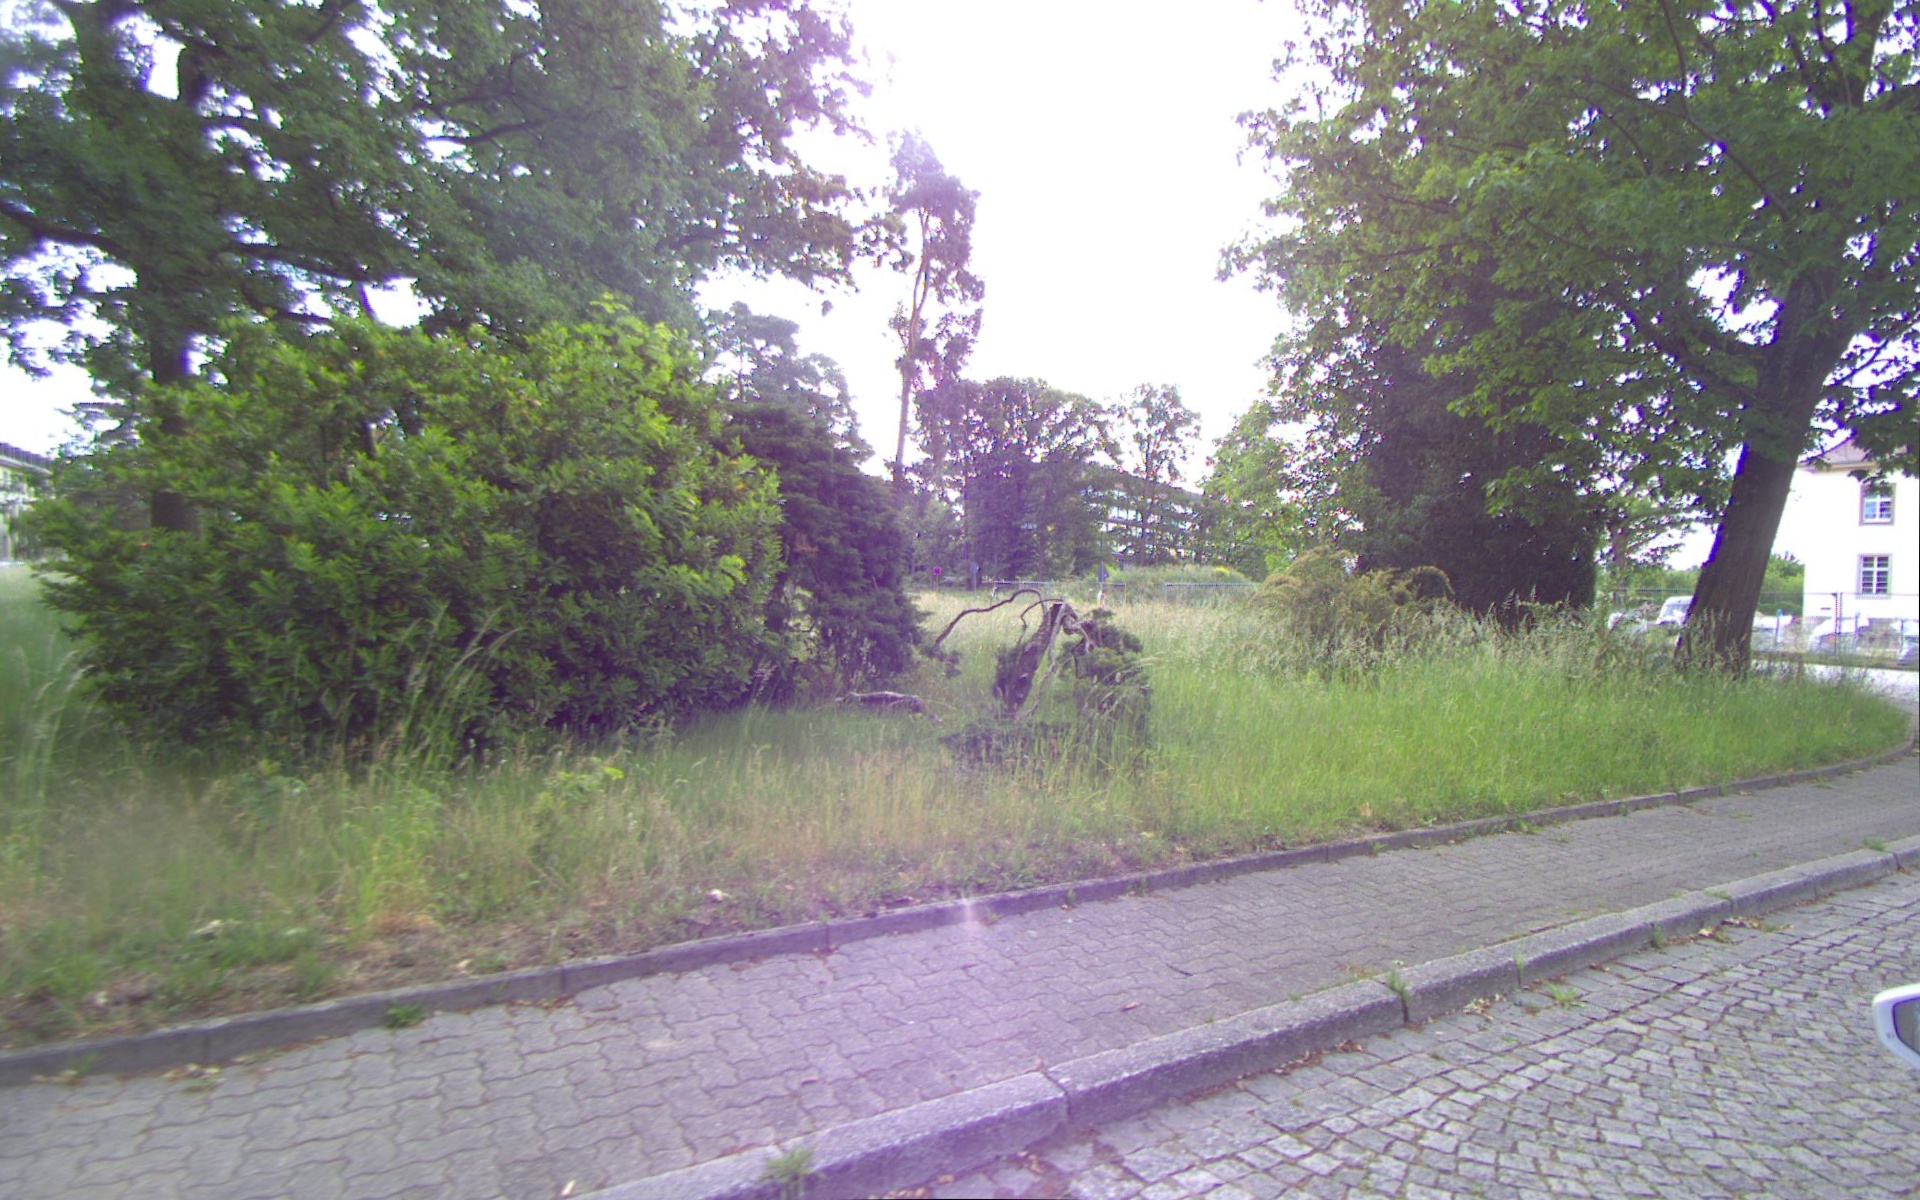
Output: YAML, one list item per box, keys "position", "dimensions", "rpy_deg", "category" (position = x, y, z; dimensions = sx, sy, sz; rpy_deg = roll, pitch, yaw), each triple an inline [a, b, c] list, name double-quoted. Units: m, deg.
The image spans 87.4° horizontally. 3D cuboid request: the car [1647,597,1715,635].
- position: [44.488, 1.013, 61.930]
  dimensions: [4.855, 2.179, 2.051]
  rpy_deg: [2, 1, -38]
  category: "car"
